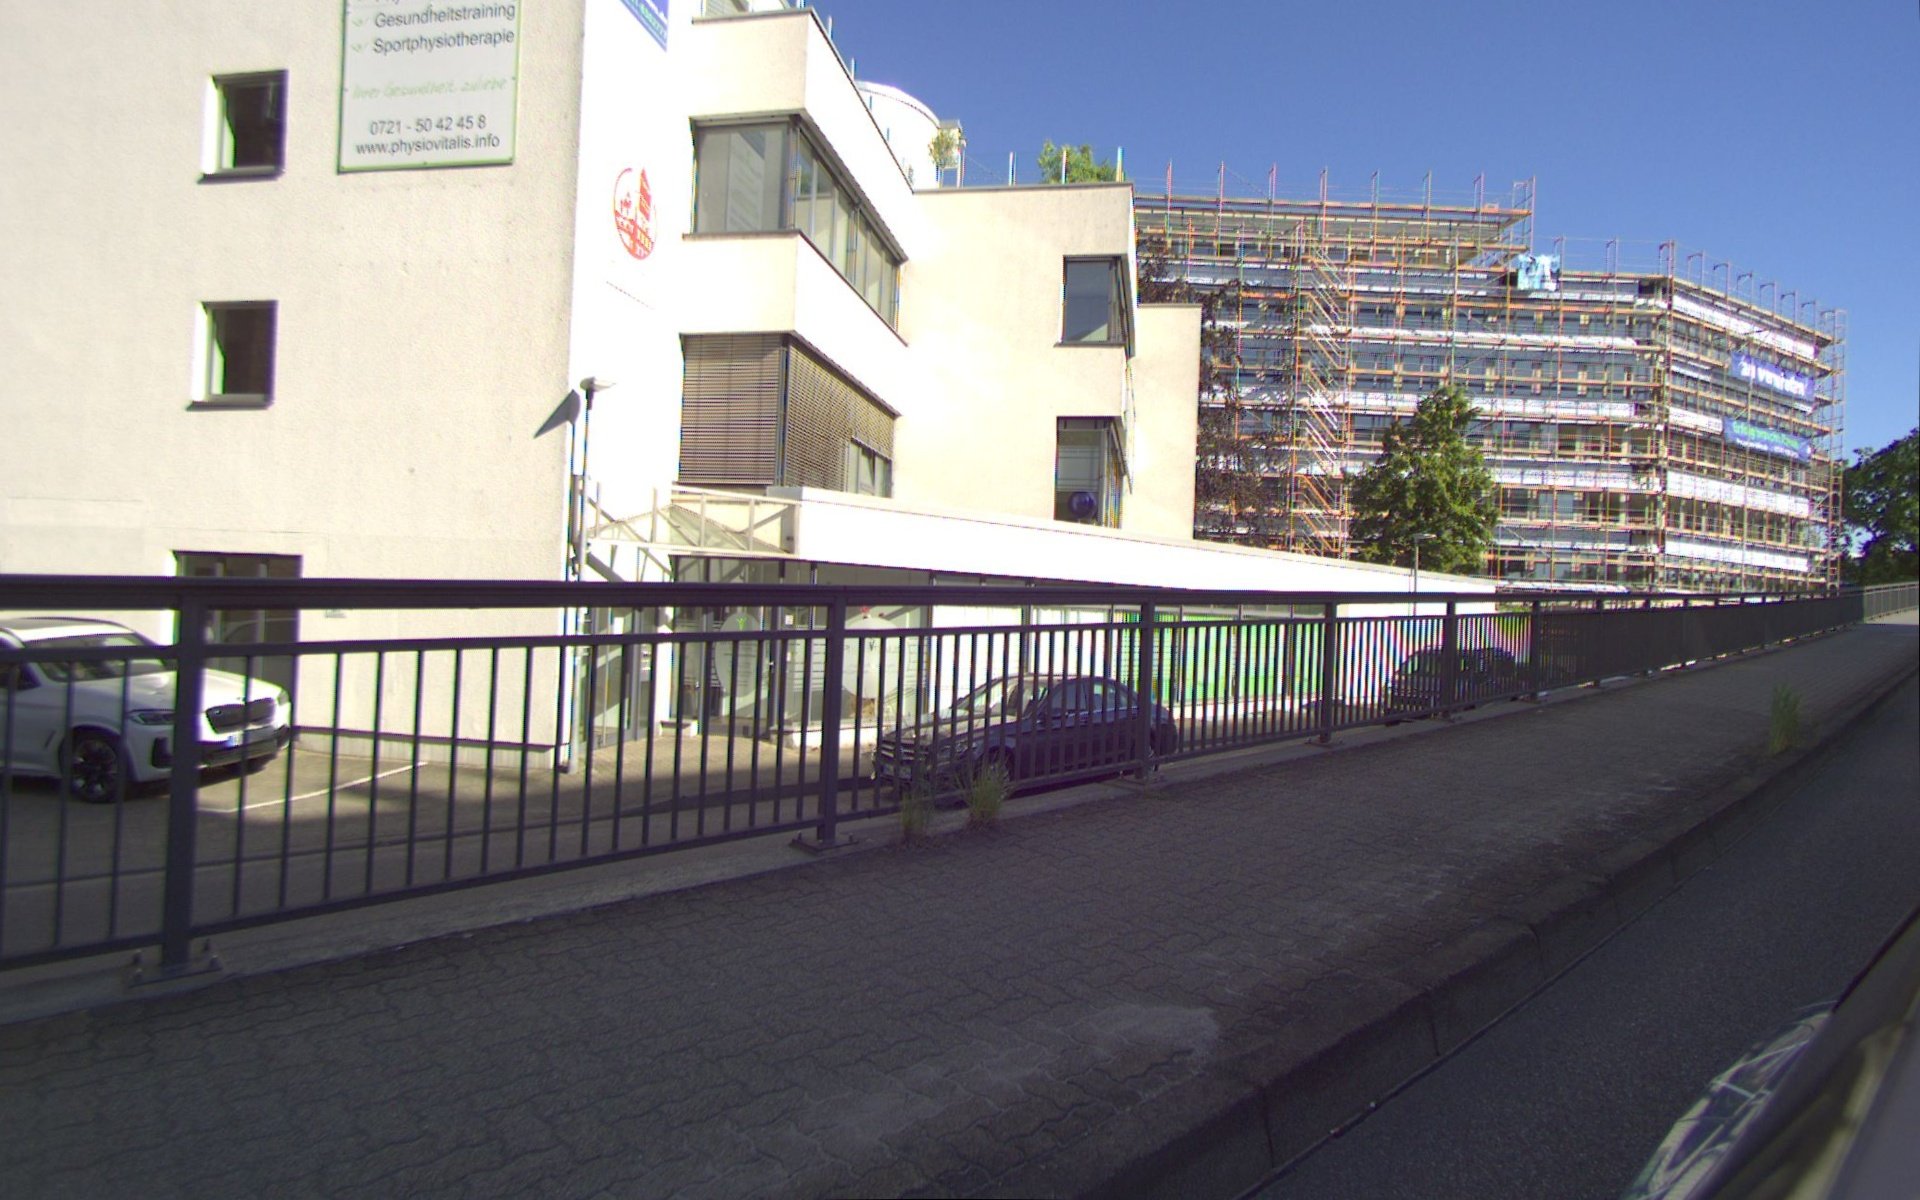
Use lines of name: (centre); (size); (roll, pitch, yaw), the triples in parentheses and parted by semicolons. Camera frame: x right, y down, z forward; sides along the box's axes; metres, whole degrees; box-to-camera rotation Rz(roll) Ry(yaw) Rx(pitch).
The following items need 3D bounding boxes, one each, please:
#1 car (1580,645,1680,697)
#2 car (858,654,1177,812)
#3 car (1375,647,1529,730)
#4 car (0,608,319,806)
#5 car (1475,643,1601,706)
car: (21.091, 2.172, 31.792); (3.931, 1.410, 1.723); (1, -1, -42)
car: (0.825, 1.527, 12.787); (3.929, 1.541, 1.724); (1, -1, -41)
car: (10.862, 1.860, 22.222); (3.931, 1.541, 1.723); (1, -1, -42)
car: (-9.587, 1.020, 10.844); (4.455, 1.707, 1.840); (2, 0, 9)
car: (14.984, 1.866, 26.152); (3.931, 1.410, 1.723); (1, -1, -42)
